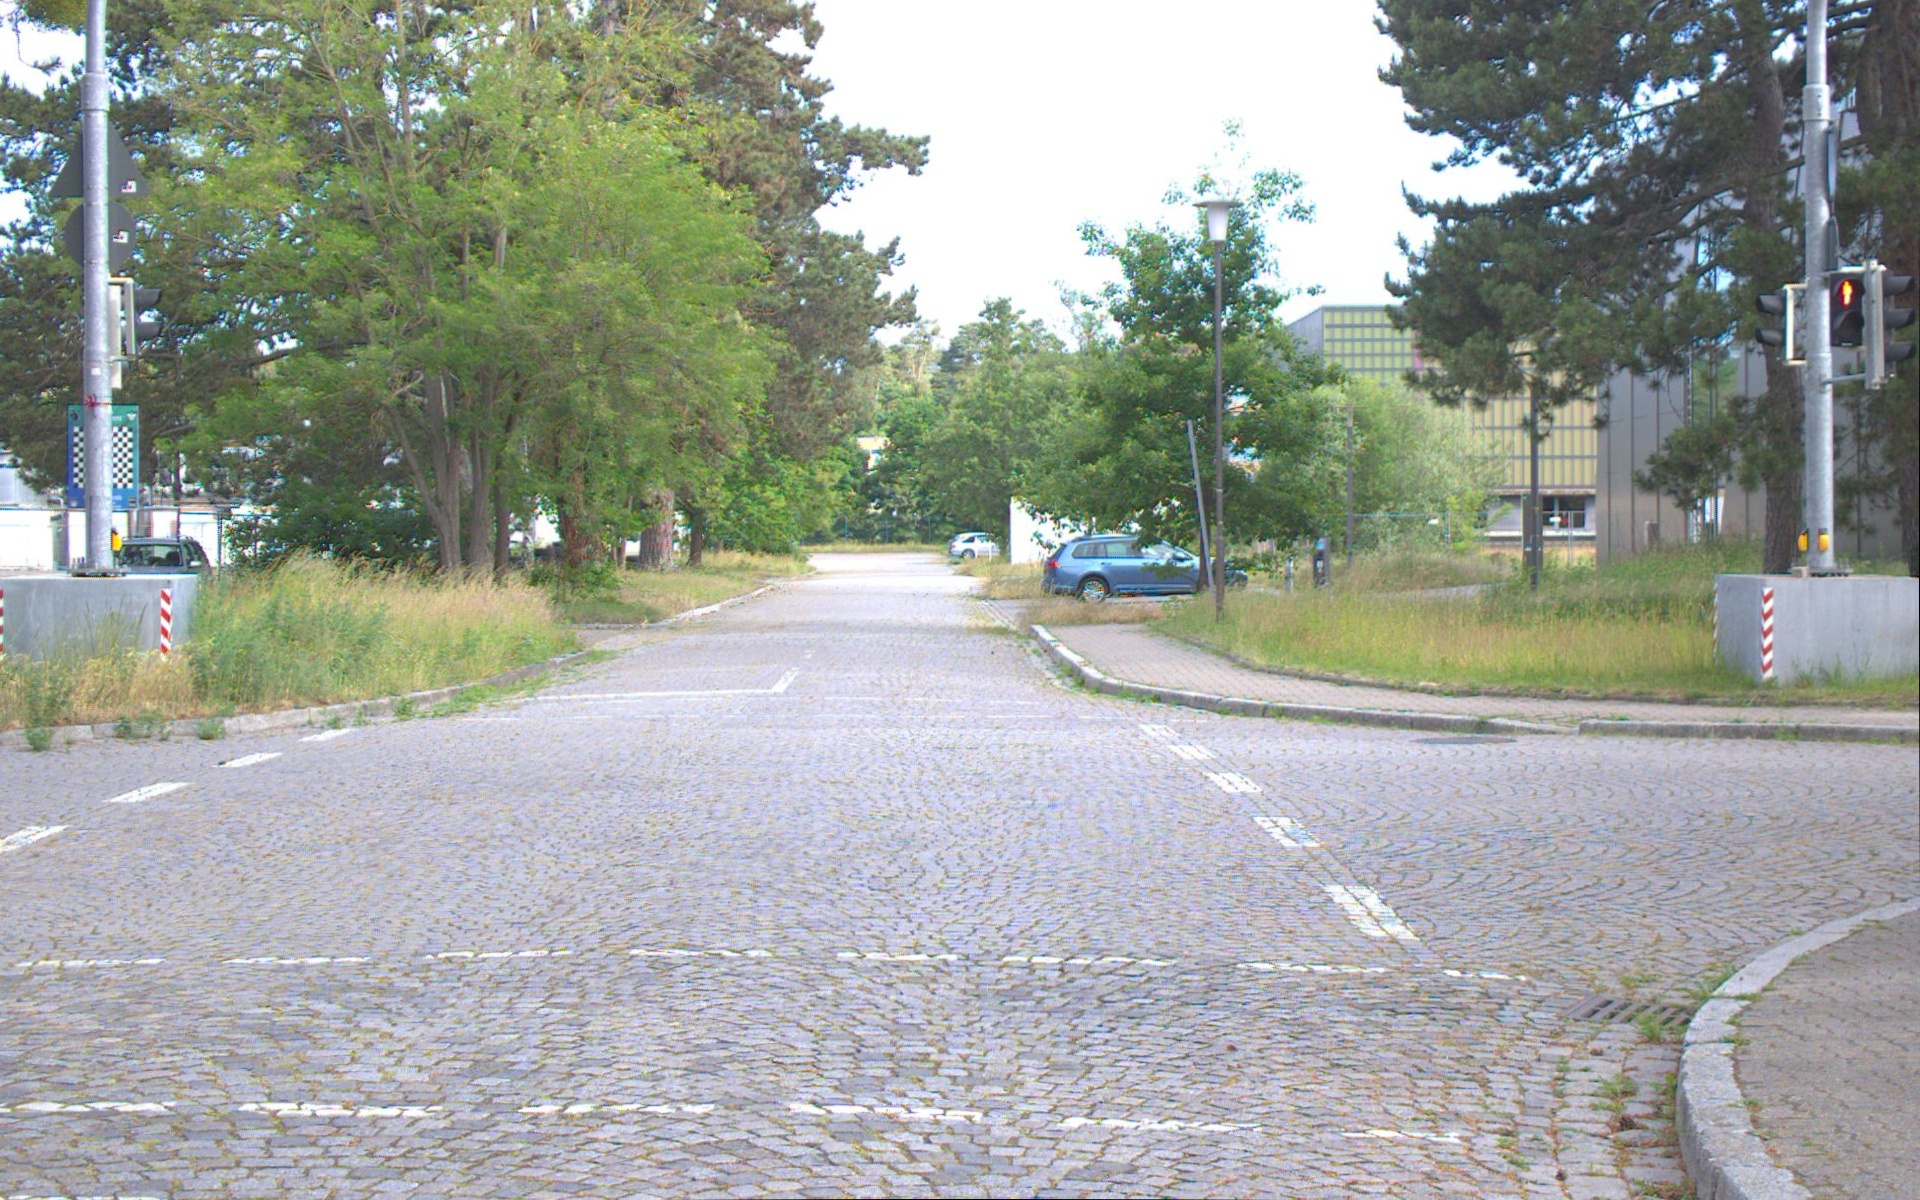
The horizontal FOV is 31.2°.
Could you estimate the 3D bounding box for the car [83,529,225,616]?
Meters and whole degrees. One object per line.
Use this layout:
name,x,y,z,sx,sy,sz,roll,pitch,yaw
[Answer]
car,-14.245,-0.512,60.925,1.613,1.482,4.000,0,1,-1

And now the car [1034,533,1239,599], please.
car,3.881,-0.755,75.964,4.343,1.417,2.000,0,1,-3

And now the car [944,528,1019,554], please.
car,1.201,-3.316,193.012,3.986,1.393,2.001,0,1,-6
